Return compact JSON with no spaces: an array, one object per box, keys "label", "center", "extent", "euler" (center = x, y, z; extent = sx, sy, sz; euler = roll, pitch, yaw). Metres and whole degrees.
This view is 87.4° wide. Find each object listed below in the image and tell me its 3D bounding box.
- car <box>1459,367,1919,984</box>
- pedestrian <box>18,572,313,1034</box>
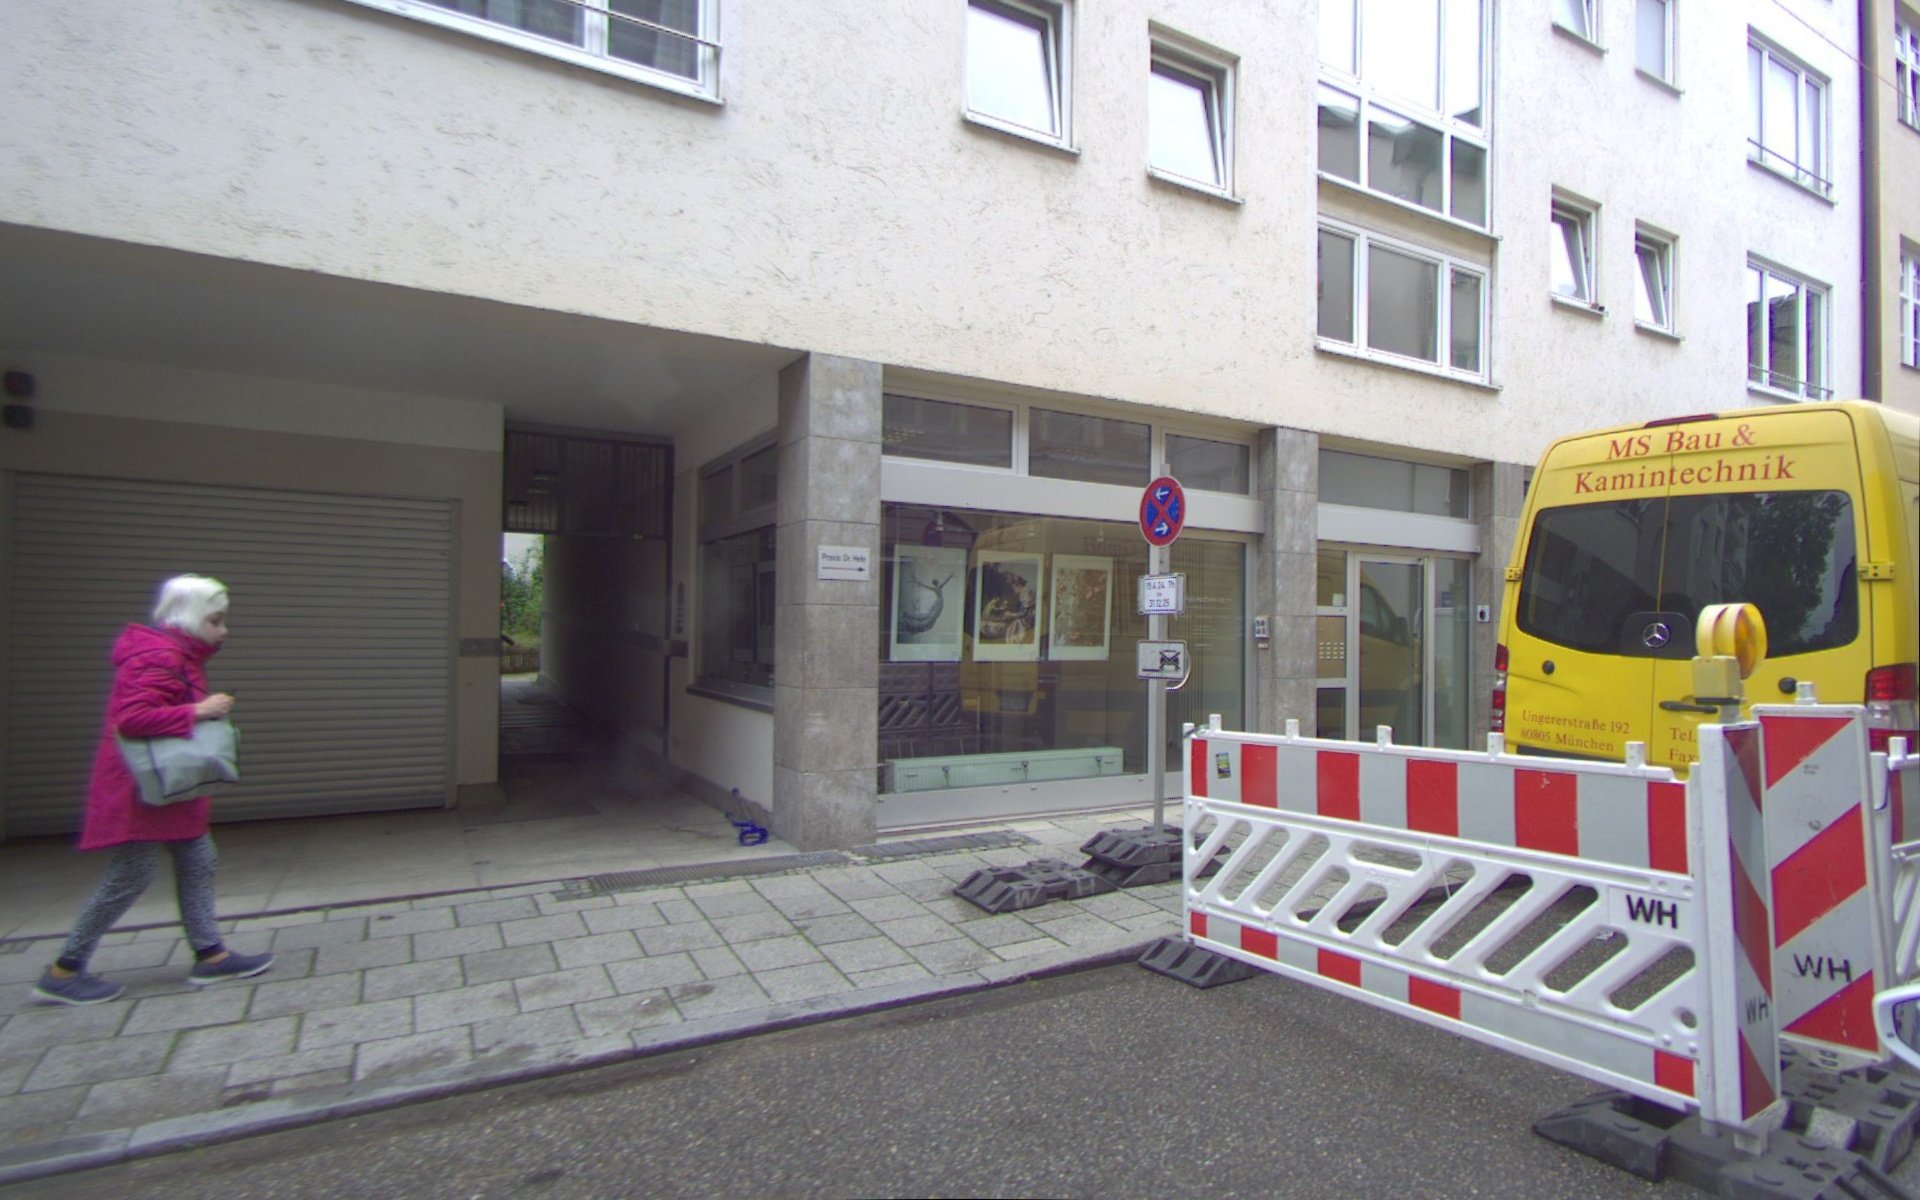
[{"label":"car","center":[6.333,0.428,6.820],"extent":[6.658,2.612,1.984],"euler":[2,-2,-31]},{"label":"pedestrian","center":[-2.967,0.692,3.836],"extent":[0.737,1.552,0.635],"euler":[1,0,-27]}]
